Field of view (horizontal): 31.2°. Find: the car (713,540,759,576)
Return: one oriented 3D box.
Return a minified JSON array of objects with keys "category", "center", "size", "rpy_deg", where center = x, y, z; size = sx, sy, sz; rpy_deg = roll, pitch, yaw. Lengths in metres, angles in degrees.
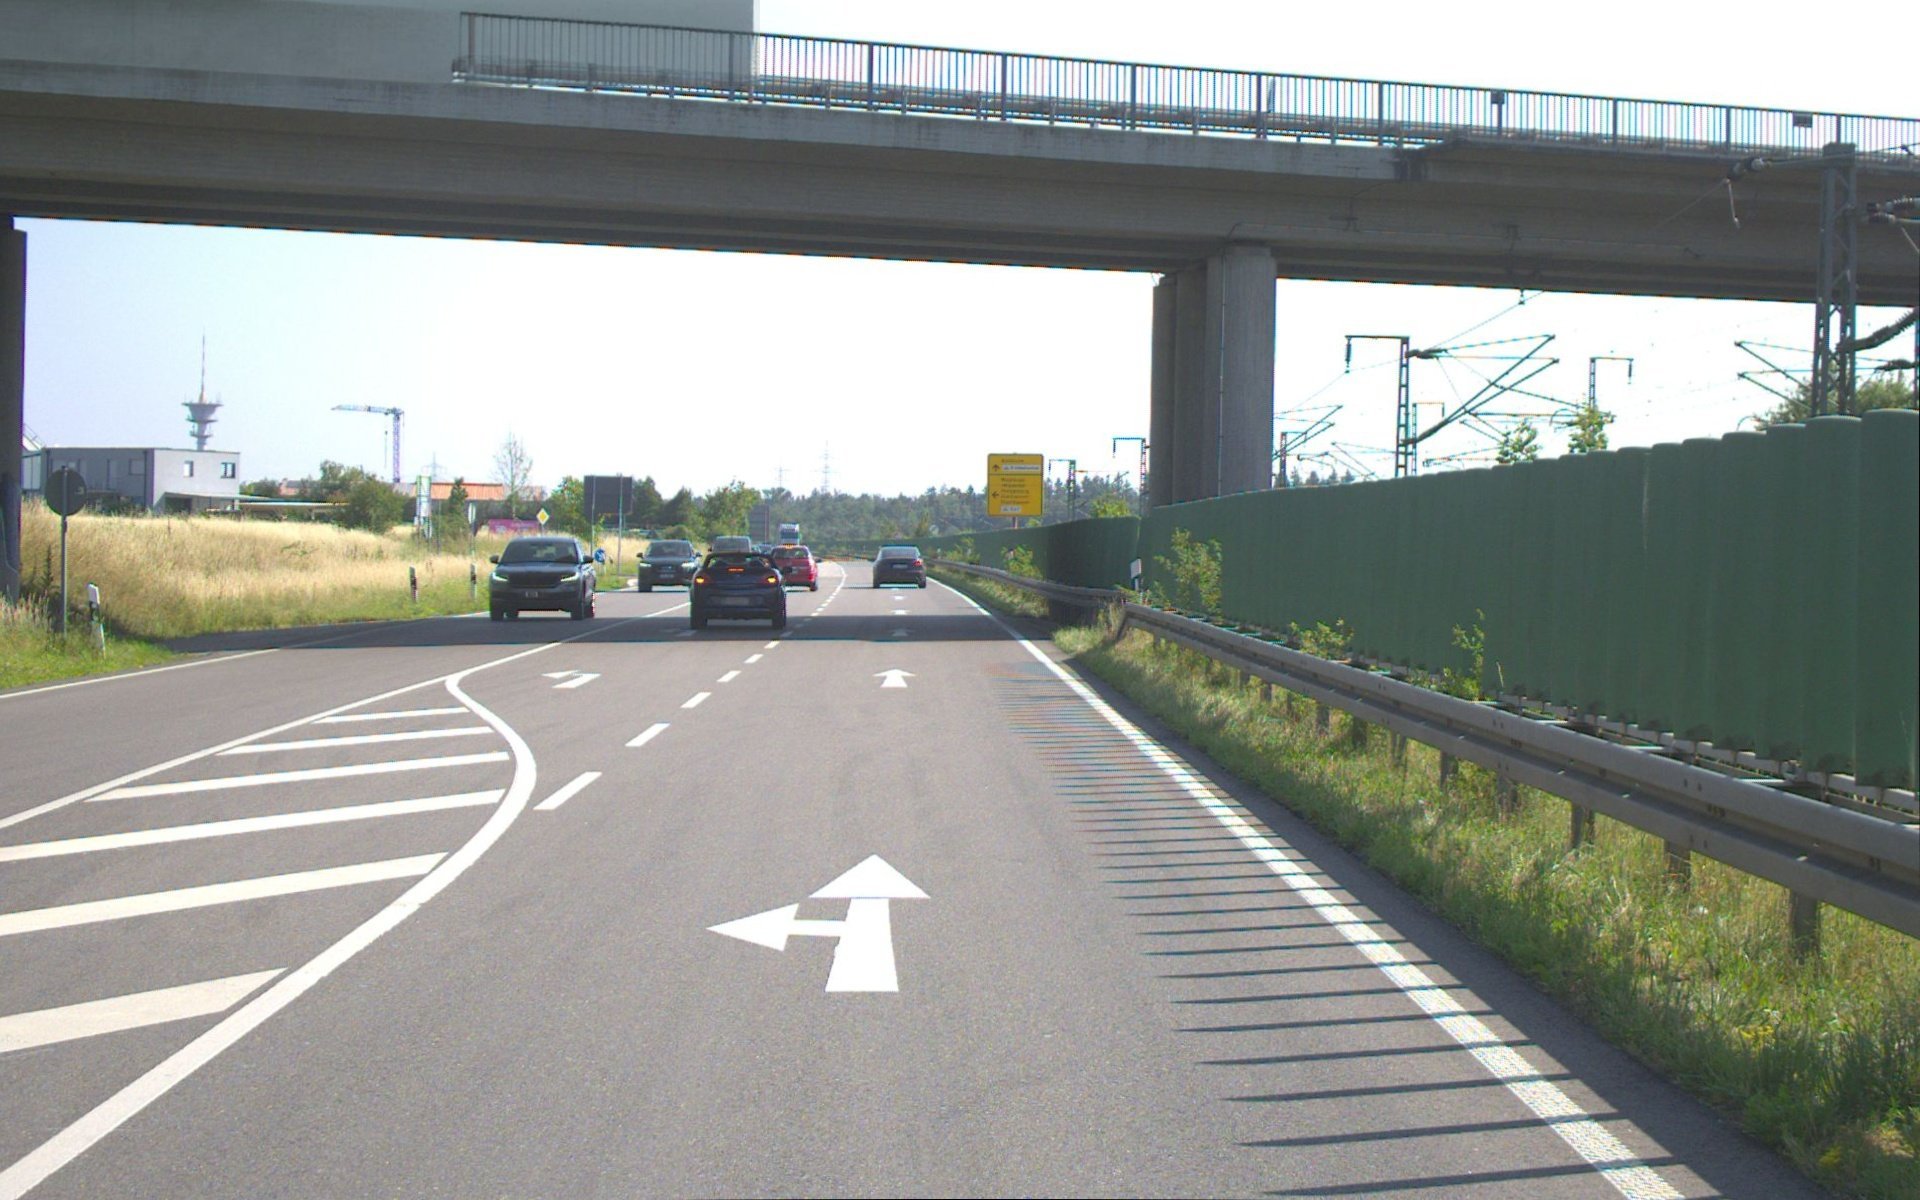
[{"category":"car","center":[-10.290,-1.912,158.191],"size":[1.895,1.625,4.000],"rpy_deg":[0,1,-1]}]

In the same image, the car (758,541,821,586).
[{"category":"car","center":[-5.507,-1.191,111.545],"size":[1.895,1.413,4.000],"rpy_deg":[0,1,-1]}]

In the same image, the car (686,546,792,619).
[{"category":"car","center":[-3.911,-0.327,61.369],"size":[1.663,1.257,4.000],"rpy_deg":[0,1,-1]}]

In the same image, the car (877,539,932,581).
[{"category":"car","center":[-1.918,-1.405,119.637],"size":[1.895,1.413,4.000],"rpy_deg":[0,1,-1]}]

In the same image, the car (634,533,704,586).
[{"category":"car","center":[-9.137,-1.262,108.126],"size":[1.895,1.625,4.000],"rpy_deg":[0,1,-1]}]

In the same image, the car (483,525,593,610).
[{"category":"car","center":[-8.392,-0.668,68.633],"size":[1.845,1.625,4.001],"rpy_deg":[0,1,-2]}]
